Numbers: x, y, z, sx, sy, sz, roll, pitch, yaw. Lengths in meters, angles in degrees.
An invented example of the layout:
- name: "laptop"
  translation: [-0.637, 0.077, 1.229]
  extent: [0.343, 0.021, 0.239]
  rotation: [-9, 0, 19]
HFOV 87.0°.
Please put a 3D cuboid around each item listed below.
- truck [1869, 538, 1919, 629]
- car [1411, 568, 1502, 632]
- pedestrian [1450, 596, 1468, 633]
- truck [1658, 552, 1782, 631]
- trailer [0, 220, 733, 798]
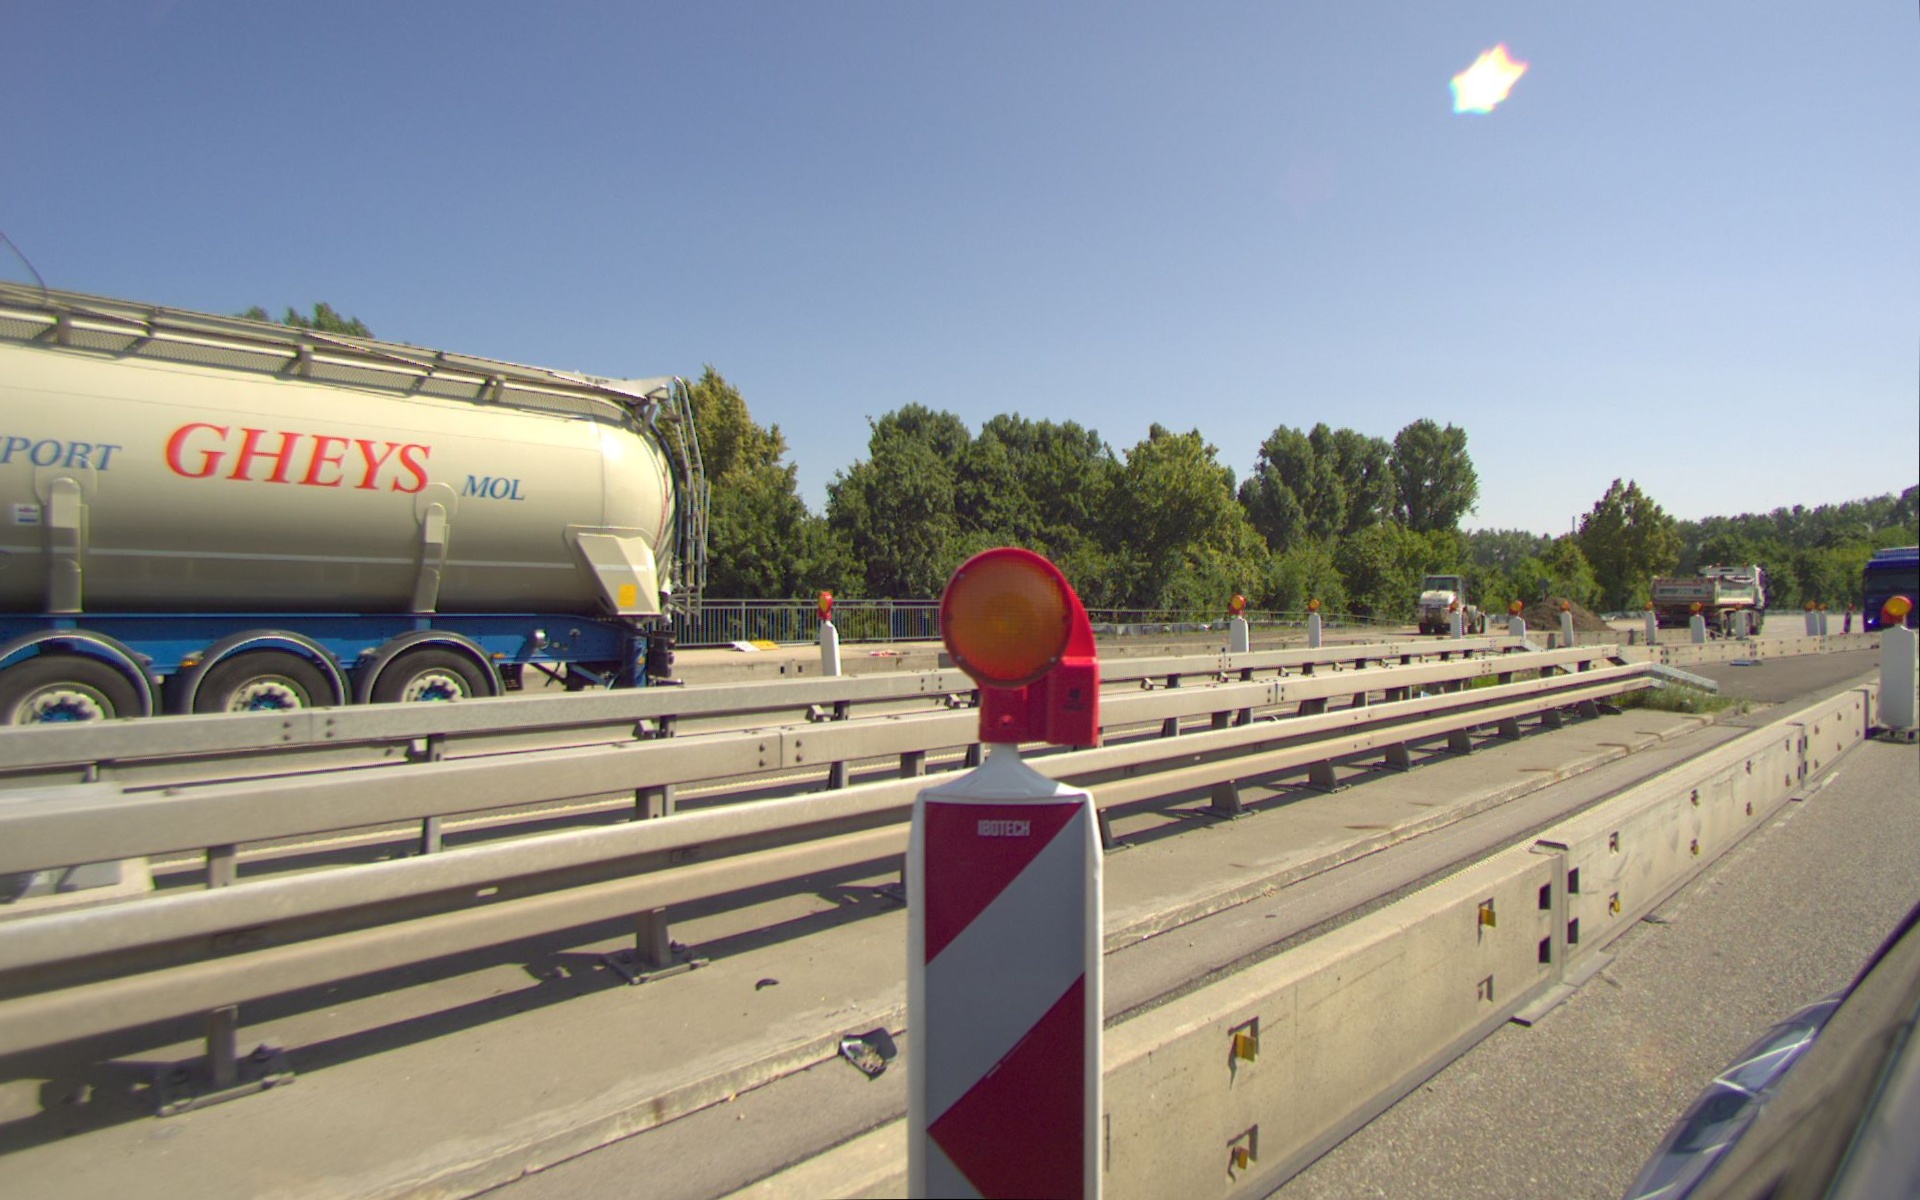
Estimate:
- name: "truck"
  translation: [45.724, -0.760, 47.654]
  extent: [8.506, 4.035, 2.861]
  rotation: [0, 1, -38]
- name: "car"
  translation: [22.532, -0.037, 45.776]
  extent: [2.104, 2.675, 5.892]
  rotation: [1, 1, 43]
- name: "pedestrian"
  translation: [24.154, 0.707, 48.944]
  extent: [0.664, 1.770, 0.523]
  rotation: [0, 0, 44]
- name: "truck"
  translation: [36.141, -0.424, 47.976]
  extent: [8.576, 3.476, 2.606]
  rotation: [0, 1, -38]
- name: "trailer"
  translation: [-8.062, -0.681, 8.167]
  extent: [12.394, 4.189, 2.699]
  rotation: [0, 1, -41]
